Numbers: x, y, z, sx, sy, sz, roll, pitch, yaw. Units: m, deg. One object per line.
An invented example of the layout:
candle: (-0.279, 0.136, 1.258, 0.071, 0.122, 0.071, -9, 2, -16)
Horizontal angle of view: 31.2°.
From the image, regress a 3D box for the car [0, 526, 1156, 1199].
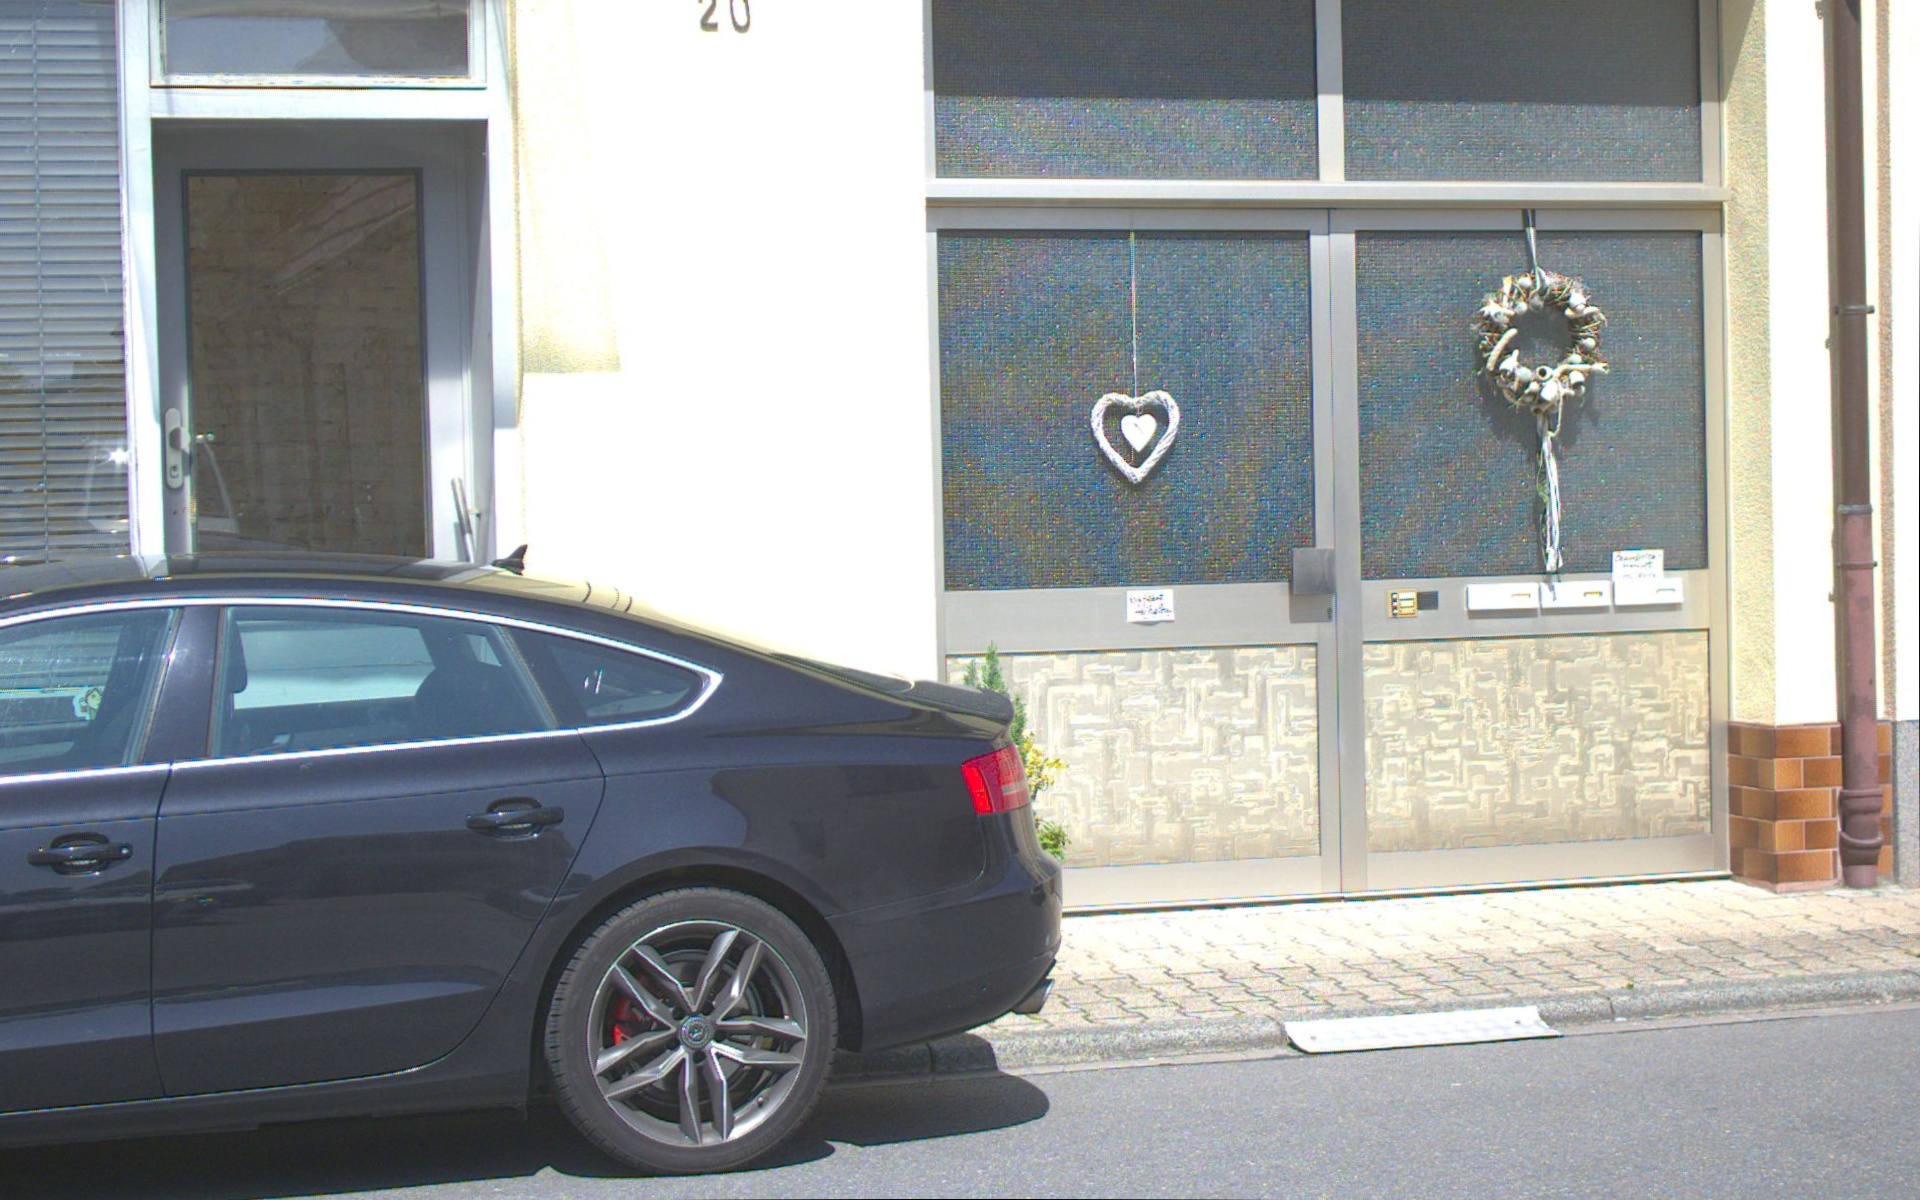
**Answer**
car: (-2.064, 0.599, 7.987, 4.615, 1.389, 1.928, -1, -1, -17)
